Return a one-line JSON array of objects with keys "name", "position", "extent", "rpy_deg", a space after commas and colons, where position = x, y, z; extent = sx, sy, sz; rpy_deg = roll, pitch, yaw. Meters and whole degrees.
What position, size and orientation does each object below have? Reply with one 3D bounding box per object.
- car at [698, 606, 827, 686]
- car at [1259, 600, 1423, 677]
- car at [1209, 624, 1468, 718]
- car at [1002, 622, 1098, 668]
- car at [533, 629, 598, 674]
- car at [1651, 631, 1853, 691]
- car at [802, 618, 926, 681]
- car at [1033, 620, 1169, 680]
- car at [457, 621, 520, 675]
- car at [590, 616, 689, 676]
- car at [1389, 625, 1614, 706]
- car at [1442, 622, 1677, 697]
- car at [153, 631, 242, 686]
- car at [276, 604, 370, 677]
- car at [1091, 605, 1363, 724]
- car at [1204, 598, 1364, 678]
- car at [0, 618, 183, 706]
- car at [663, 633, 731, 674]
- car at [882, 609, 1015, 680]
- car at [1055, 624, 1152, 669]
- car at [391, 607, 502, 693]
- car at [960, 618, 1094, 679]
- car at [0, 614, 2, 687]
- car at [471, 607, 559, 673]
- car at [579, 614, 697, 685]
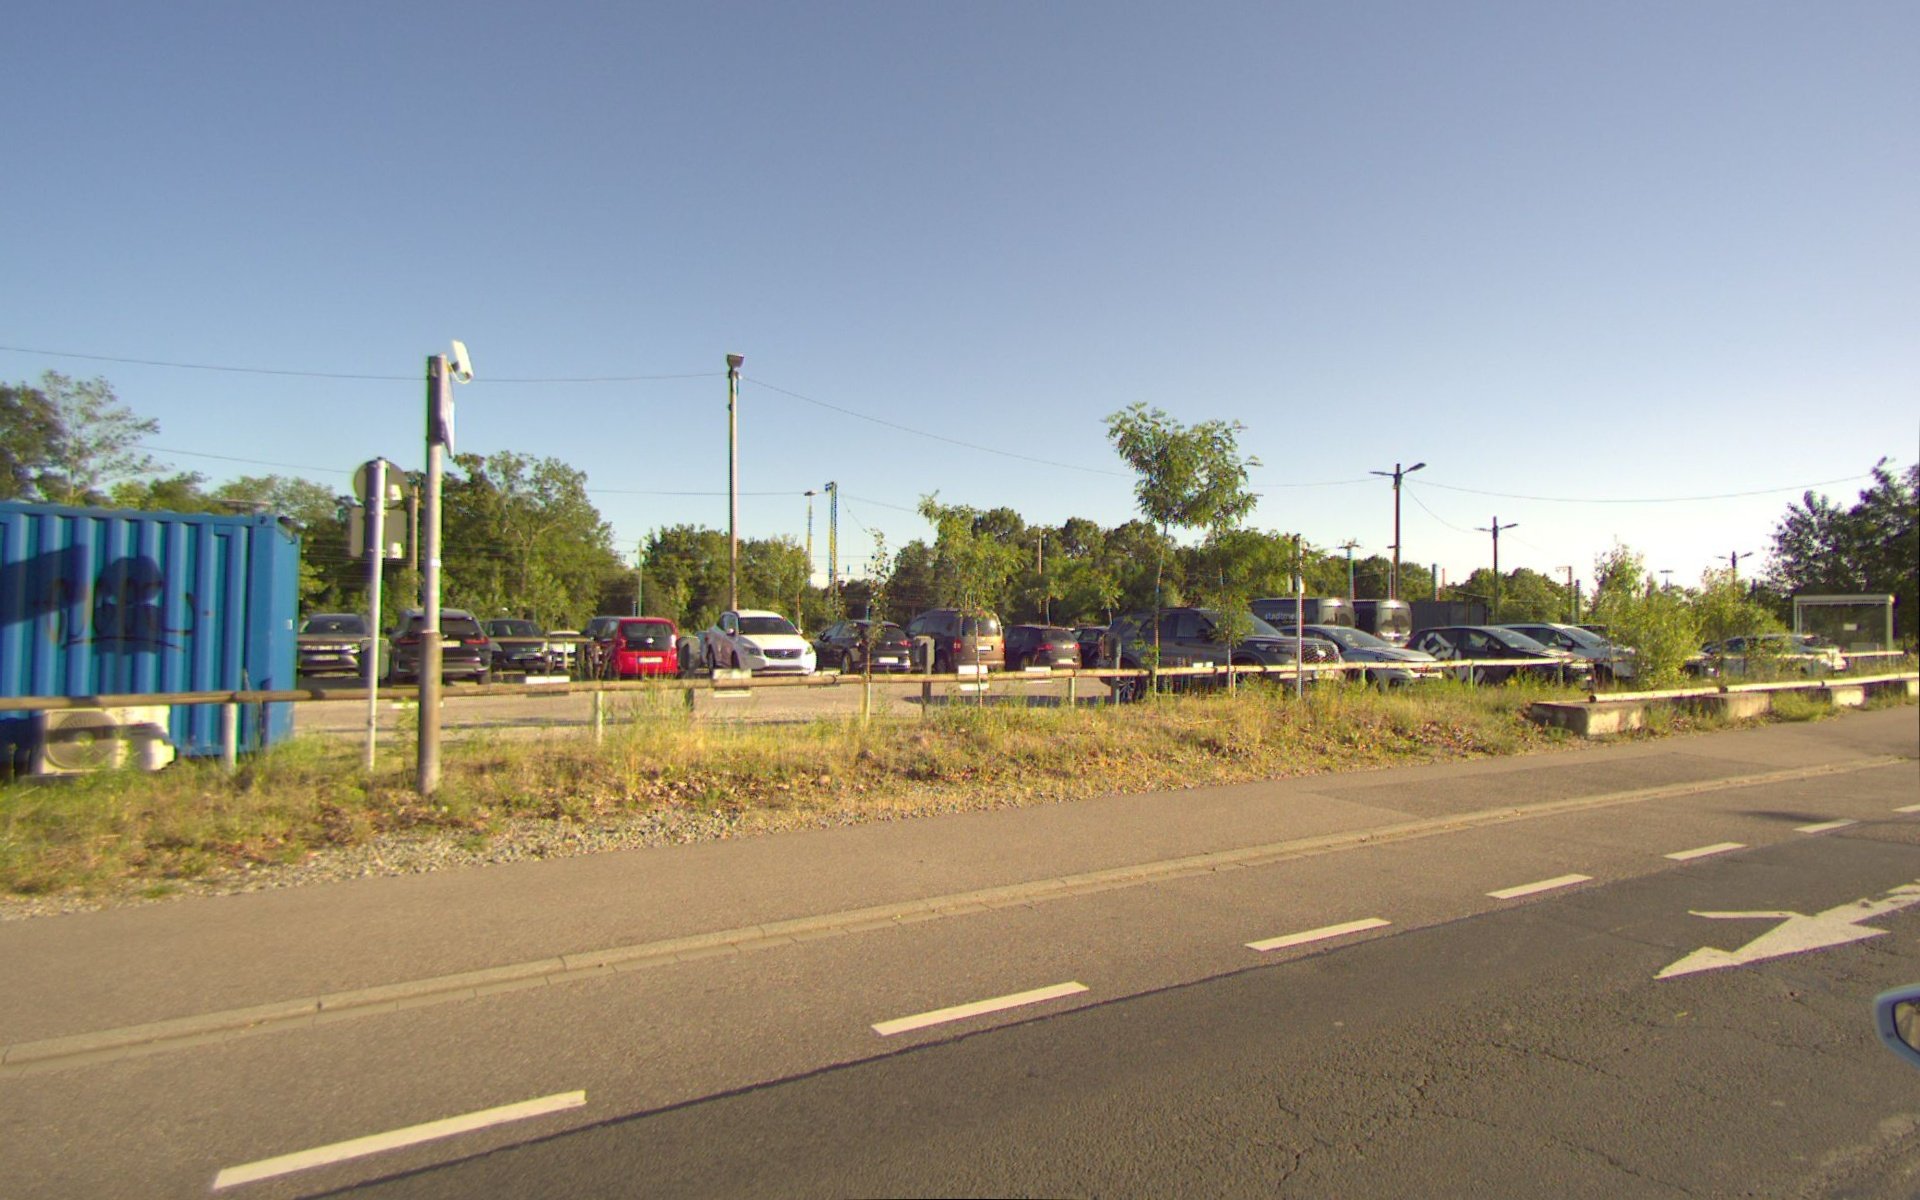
[{"name": "car", "position": [-4.967, 1.074, 24.755], "extent": [2.031, 1.764, 4.565], "rpy_deg": [1, -1, -26]}, {"name": "car", "position": [13.235, 1.302, 35.232], "extent": [2.293, 2.492, 5.071], "rpy_deg": [1, -1, -30]}, {"name": "car", "position": [7.253, 1.284, 19.734], "extent": [1.977, 1.578, 4.572], "rpy_deg": [1, -1, -30]}, {"name": "car", "position": [3.347, 1.664, 37.994], "extent": [1.687, 1.615, 3.969], "rpy_deg": [3, -2, -29]}, {"name": "car", "position": [-14.652, 1.859, 37.212], "extent": [1.733, 1.514, 3.705], "rpy_deg": [1, -1, -30]}, {"name": "car", "position": [23.558, 1.763, 30.071], "extent": [1.856, 1.578, 4.404], "rpy_deg": [1, -1, -30]}, {"name": "car", "position": [-2.638, 1.254, 26.787], "extent": [1.856, 1.540, 3.864], "rpy_deg": [1, -1, -30]}, {"name": "car", "position": [4.199, 1.464, 30.538], "extent": [1.856, 1.639, 4.300], "rpy_deg": [1, -1, -30]}, {"name": "car", "position": [-16.841, 1.675, 35.812], "extent": [1.733, 1.794, 3.705], "rpy_deg": [1, -1, -30]}, {"name": "car", "position": [-9.119, 1.247, 28.403], "extent": [1.856, 1.540, 3.864], "rpy_deg": [1, -1, -30]}, {"name": "car", "position": [11.915, 1.380, 22.364], "extent": [1.856, 1.578, 4.068], "rpy_deg": [1, -1, -30]}, {"name": "car", "position": [14.171, 1.351, 24.010], "extent": [1.856, 1.578, 4.520], "rpy_deg": [1, -1, -30]}, {"name": "car", "position": [-24.040, 1.795, 31.788], "extent": [1.733, 1.574, 3.705], "rpy_deg": [1, -1, -30]}, {"name": "car", "position": [-15.533, 0.949, 24.652], "extent": [1.786, 1.625, 3.864], "rpy_deg": [1, -1, -30]}, {"name": "car", "position": [4.671, 1.060, 18.331], "extent": [1.977, 1.859, 4.822], "rpy_deg": [1, -1, -30]}, {"name": "car", "position": [10.861, 1.241, 34.070], "extent": [2.293, 2.492, 4.902], "rpy_deg": [1, -1, -30]}, {"name": "car", "position": [-15.806, 1.047, 18.458], "extent": [1.856, 1.394, 4.300], "rpy_deg": [1, -1, -30]}, {"name": "car", "position": [-10.510, 2.085, 40.008], "extent": [1.733, 1.514, 3.705], "rpy_deg": [1, -1, -30]}, {"name": "car", "position": [-0.415, 1.190, 28.147], "extent": [1.856, 1.815, 4.300], "rpy_deg": [1, -1, -30]}, {"name": "car", "position": [5.557, 1.779, 39.305], "extent": [1.687, 1.615, 3.969], "rpy_deg": [3, -2, -29]}, {"name": "car", "position": [-10.884, 0.989, 21.168], "extent": [1.856, 1.625, 3.864], "rpy_deg": [1, -1, -30]}, {"name": "car", "position": [1.887, 1.355, 29.557], "extent": [1.856, 1.639, 4.300], "rpy_deg": [1, -1, -30]}, {"name": "car", "position": [-18.132, 0.922, 16.965], "extent": [1.856, 1.394, 4.300], "rpy_deg": [1, -1, -30]}, {"name": "car", "position": [-11.993, 1.035, 26.944], "extent": [1.855, 1.625, 3.866], "rpy_deg": [1, -1, -29]}, {"name": "car", "position": [-7.727, 1.121, 23.896], "extent": [1.856, 1.540, 3.864], "rpy_deg": [1, -1, -30]}]
